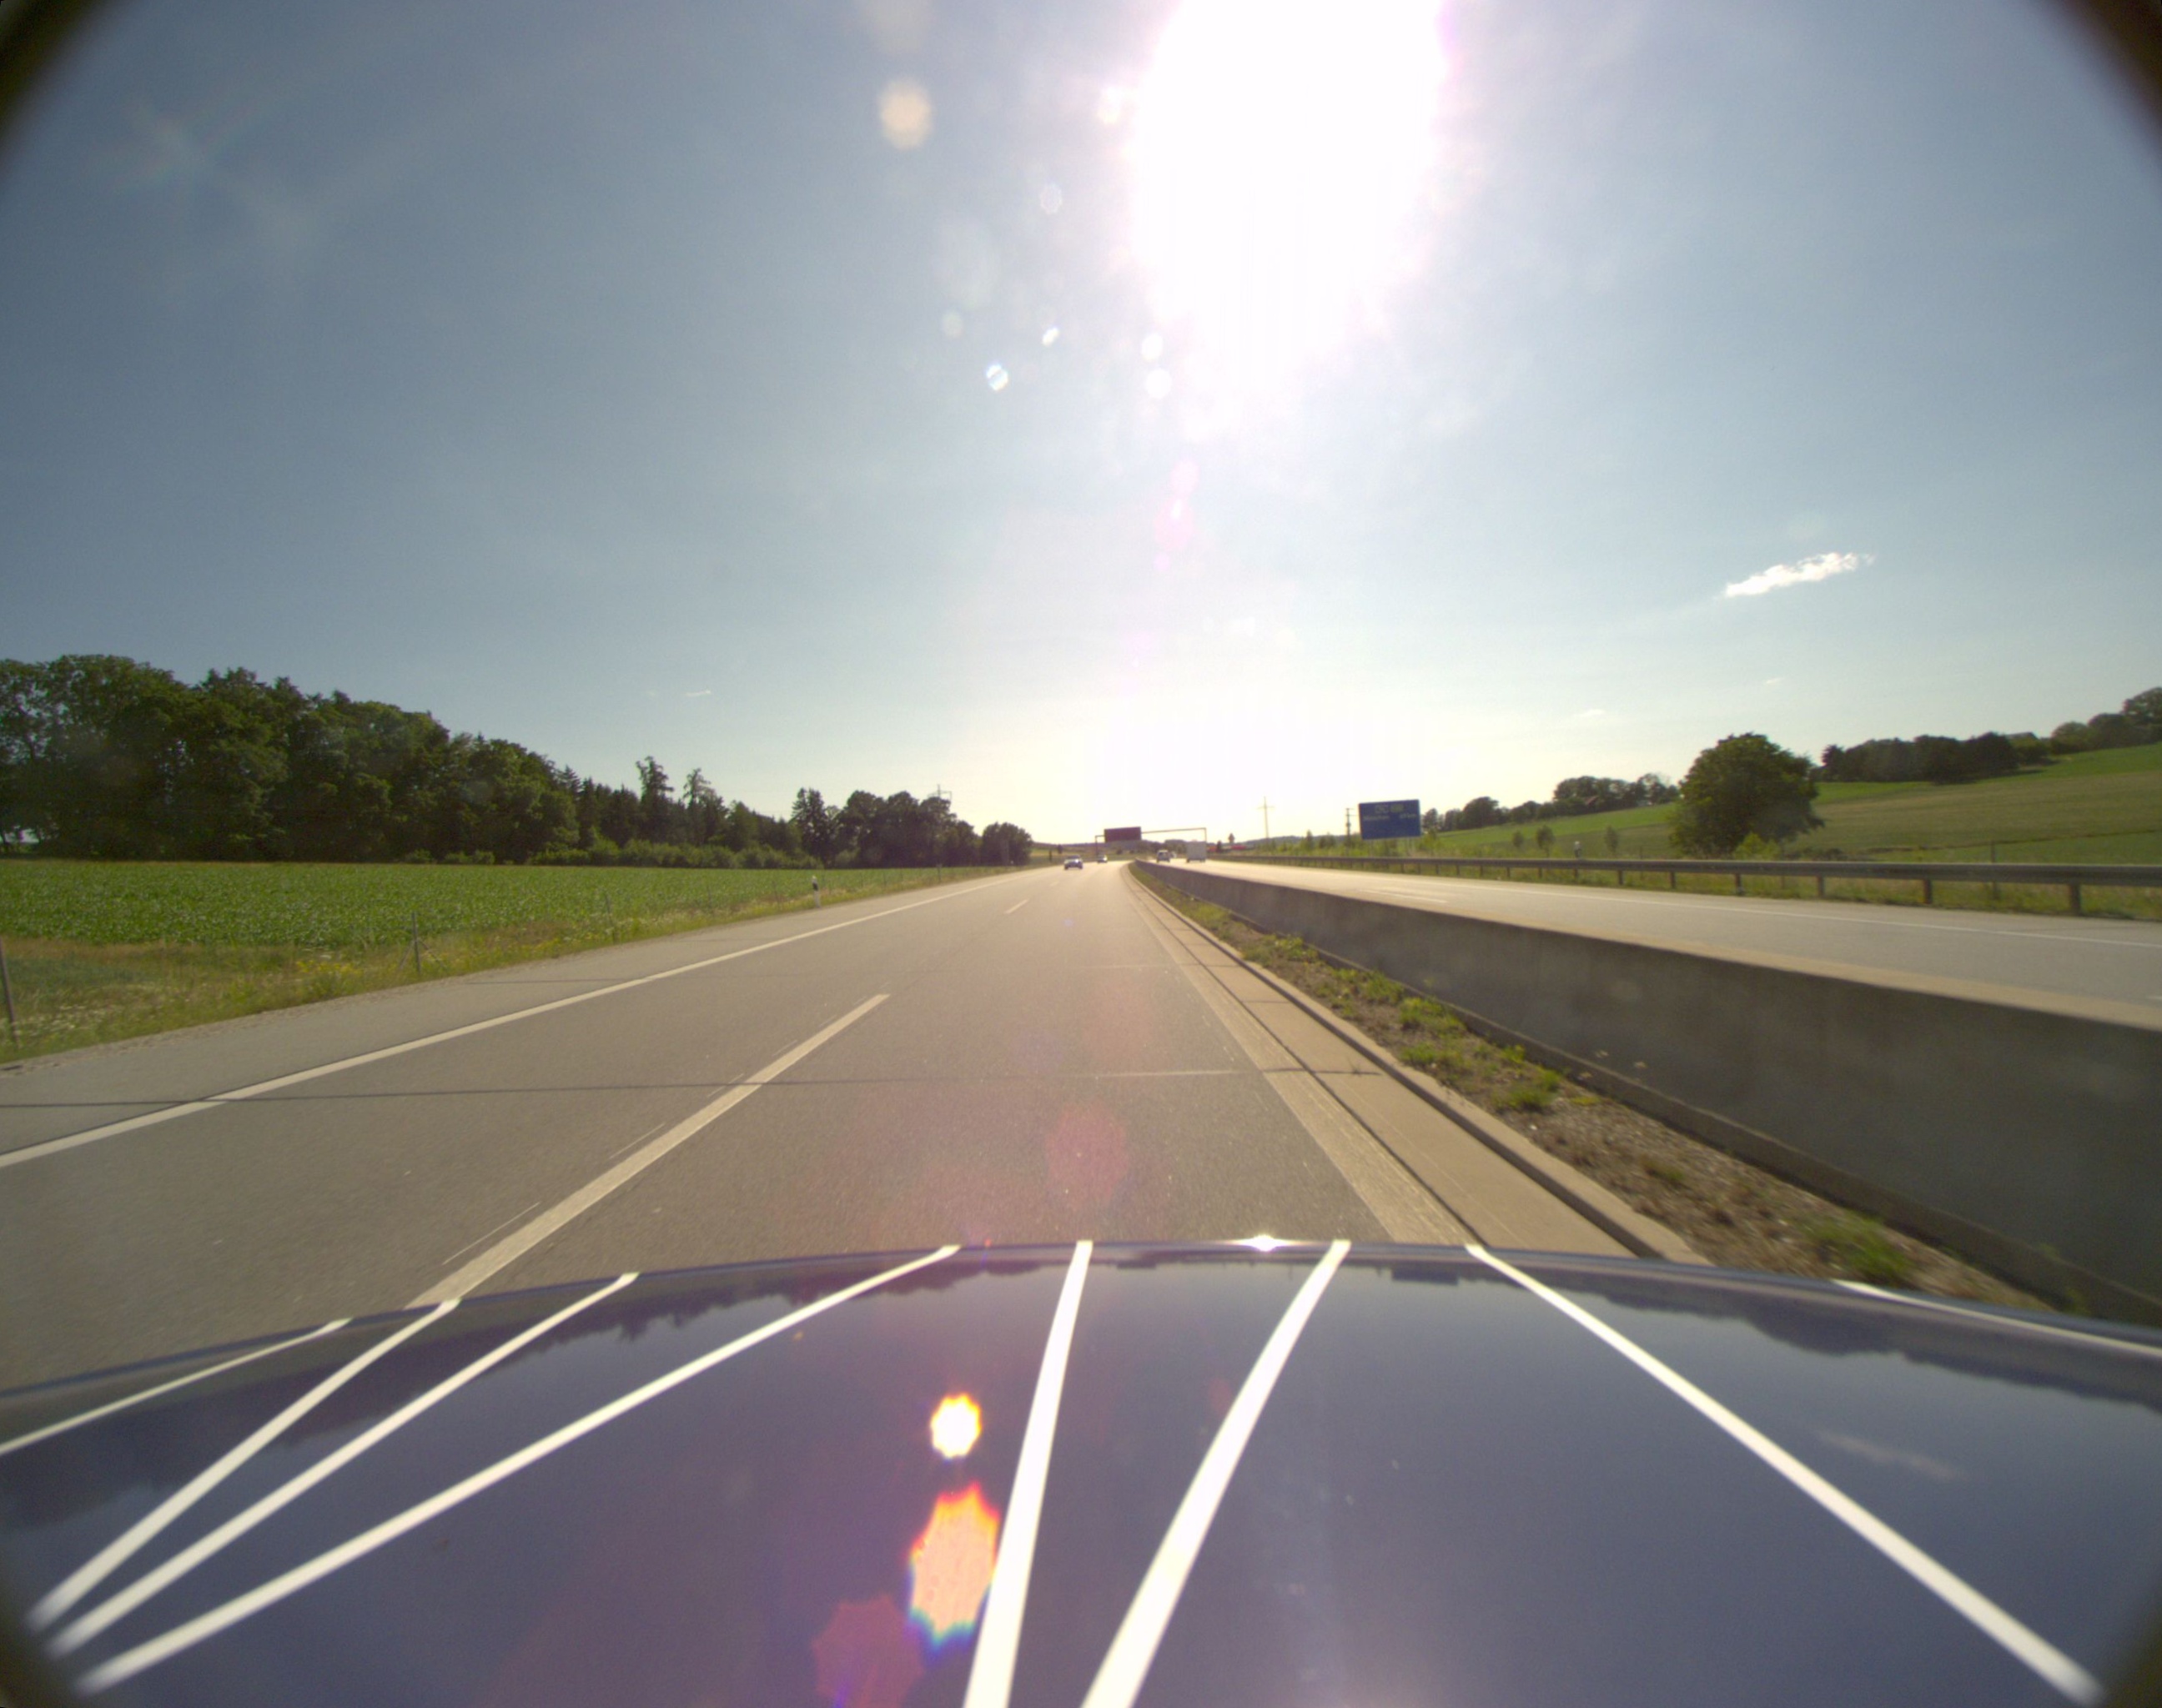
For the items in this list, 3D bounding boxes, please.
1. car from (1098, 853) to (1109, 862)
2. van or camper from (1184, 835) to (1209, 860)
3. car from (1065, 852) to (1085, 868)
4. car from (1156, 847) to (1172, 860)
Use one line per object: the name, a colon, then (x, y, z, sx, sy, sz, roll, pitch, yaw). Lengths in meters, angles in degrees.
car: (4.205, 0.683, 139.870, 1.891, 1.565, 3.792, -1, 0, 2)
van or camper: (14.970, -0.823, 98.902, 2.596, 3.062, 7.439, -1, 0, 4)
car: (-0.583, 0.619, 81.115, 1.891, 1.565, 3.792, -1, 0, 2)
car: (11.567, -0.057, 106.191, 1.991, 1.699, 4.346, -1, 0, 2)
